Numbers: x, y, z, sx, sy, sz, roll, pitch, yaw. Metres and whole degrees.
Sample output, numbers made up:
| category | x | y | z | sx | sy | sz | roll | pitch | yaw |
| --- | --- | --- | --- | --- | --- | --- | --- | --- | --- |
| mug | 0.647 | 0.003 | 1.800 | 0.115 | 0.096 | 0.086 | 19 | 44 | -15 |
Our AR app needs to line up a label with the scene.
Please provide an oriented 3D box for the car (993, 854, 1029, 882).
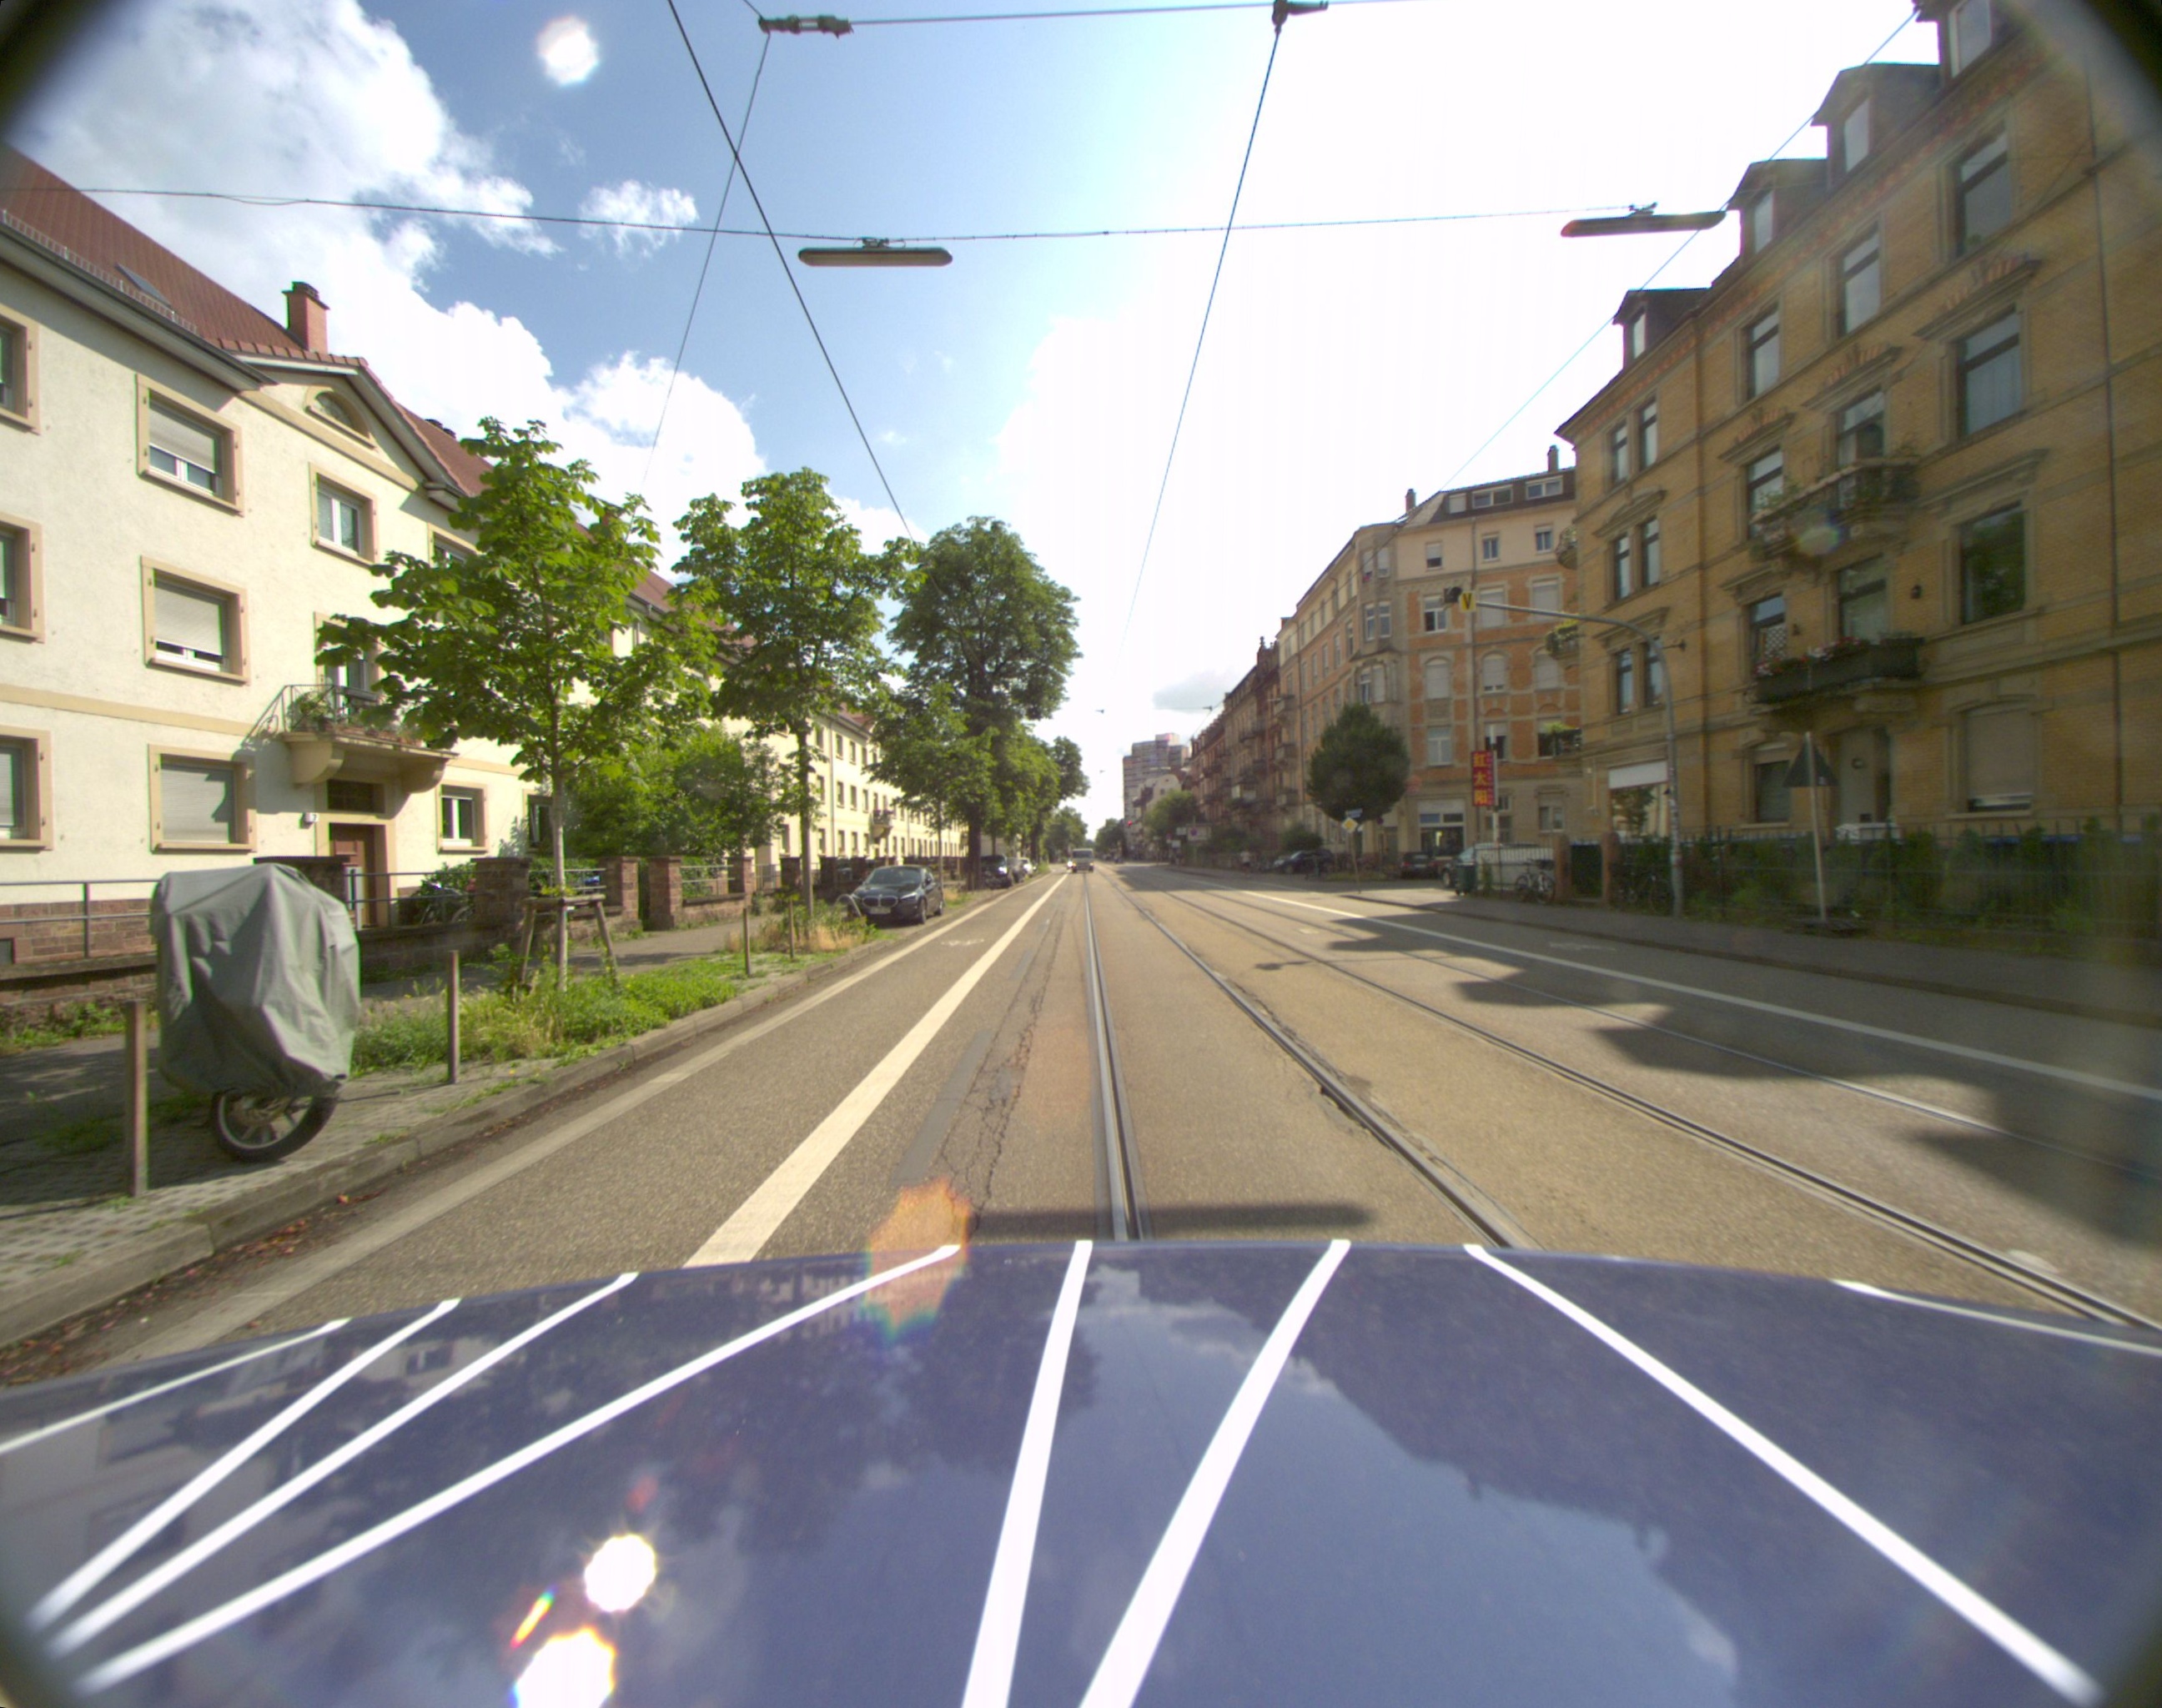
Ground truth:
| category | x | y | z | sx | sy | sz | roll | pitch | yaw |
| --- | --- | --- | --- | --- | --- | --- | --- | --- | --- |
| car | -4.478 | 0.870 | 49.377 | 1.867 | 1.643 | 4.637 | -2 | 0 | 0 |

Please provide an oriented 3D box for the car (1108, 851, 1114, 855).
| category | x | y | z | sx | sy | sz | roll | pitch | yaw |
| --- | --- | --- | --- | --- | --- | --- | --- | --- | --- |
| car | 9.715 | -0.313 | 248.117 | 1.841 | 1.482 | 3.891 | -2 | 0 | 0 |

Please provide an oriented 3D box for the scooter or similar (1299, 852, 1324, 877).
| category | x | y | z | sx | sy | sz | roll | pitch | yaw |
| --- | --- | --- | --- | --- | --- | --- | --- | --- | --- |
| scooter or similar | 12.180 | 0.538 | 40.139 | 1.367 | 1.228 | 0.403 | -3 | 1 | -28 |

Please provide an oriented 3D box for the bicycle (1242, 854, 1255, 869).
| category | x | y | z | sx | sy | sz | roll | pitch | yaw |
| --- | --- | --- | --- | --- | --- | --- | --- | --- | --- |
| bicycle | 11.156 | 0.500 | 50.699 | 0.422 | 0.971 | 1.949 | -2 | 0 | 0 |

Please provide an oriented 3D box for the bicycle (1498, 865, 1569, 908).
| category | x | y | z | sx | sy | sz | roll | pitch | yaw |
| --- | --- | --- | --- | --- | --- | --- | --- | --- | --- |
| bicycle | 10.907 | 0.764 | 18.371 | 0.531 | 0.941 | 1.967 | -2 | 0 | 0 |

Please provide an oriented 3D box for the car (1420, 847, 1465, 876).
| category | x | y | z | sx | sy | sz | roll | pitch | yaw |
| --- | --- | --- | --- | --- | --- | --- | --- | --- | --- |
| car | 18.520 | 0.355 | 39.021 | 1.641 | 1.352 | 3.932 | -1 | 0 | 19 |

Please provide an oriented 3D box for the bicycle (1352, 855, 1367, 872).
| category | x | y | z | sx | sy | sz | roll | pitch | yaw |
| --- | --- | --- | --- | --- | --- | --- | --- | --- | --- |
| bicycle | 14.759 | 0.491 | 40.312 | 0.524 | 0.833 | 1.700 | -2 | 0 | 13 |

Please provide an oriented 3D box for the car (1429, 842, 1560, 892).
| category | x | y | z | sx | sy | sz | roll | pitch | yaw |
| --- | --- | --- | --- | --- | --- | --- | --- | --- | --- |
| car | 13.405 | 0.388 | 24.999 | 1.690 | 1.451 | 4.764 | -1 | 0 | 0 |

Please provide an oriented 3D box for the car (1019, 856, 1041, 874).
| category | x | y | z | sx | sy | sz | roll | pitch | yaw |
| --- | --- | --- | --- | --- | --- | --- | --- | --- | --- |
| car | -4.585 | 0.936 | 68.952 | 1.665 | 1.512 | 4.287 | -2 | 0 | -1 |

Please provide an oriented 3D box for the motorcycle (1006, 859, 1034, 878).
| category | x | y | z | sx | sy | sz | roll | pitch | yaw |
| --- | --- | --- | --- | --- | --- | --- | --- | --- | --- |
| motorcycle | -4.533 | 1.096 | 56.178 | 2.012 | 1.329 | 0.747 | -2 | 1 | -4 |

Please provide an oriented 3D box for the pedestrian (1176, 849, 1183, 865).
| category | x | y | z | sx | sy | sz | roll | pitch | yaw |
| --- | --- | --- | --- | --- | --- | --- | --- | --- | --- |
| pedestrian | 10.641 | 0.282 | 81.930 | 0.489 | 1.693 | 1.151 | -2 | 1 | -2 |

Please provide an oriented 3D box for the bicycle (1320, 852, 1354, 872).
| category | x | y | z | sx | sy | sz | roll | pitch | yaw |
| --- | --- | --- | --- | --- | --- | --- | --- | --- | --- |
| bicycle | 14.406 | 0.442 | 42.757 | 1.759 | 1.057 | 0.524 | -2 | 0 | -5 |

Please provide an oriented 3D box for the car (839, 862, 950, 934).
| category | x | y | z | sx | sy | sz | roll | pitch | yaw |
| --- | --- | --- | --- | --- | --- | --- | --- | --- | --- |
| car | -4.645 | 1.036 | 19.564 | 1.710 | 1.470 | 4.196 | -4 | 1 | 0 |

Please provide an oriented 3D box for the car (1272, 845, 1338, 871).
| category | x | y | z | sx | sy | sz | roll | pitch | yaw |
| --- | --- | --- | --- | --- | --- | --- | --- | --- | --- |
| car | 13.766 | 0.235 | 46.875 | 3.611 | 1.395 | 1.787 | -2 | 0 | 4 |

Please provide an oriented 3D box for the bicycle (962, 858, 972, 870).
| category | x | y | z | sx | sy | sz | roll | pitch | yaw |
| --- | --- | --- | --- | --- | --- | --- | --- | --- | --- |
| bicycle | -10.933 | 0.934 | 72.936 | 0.626 | 1.128 | 1.801 | -2 | 0 | 0 |

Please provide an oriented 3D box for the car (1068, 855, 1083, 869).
| category | x | y | z | sx | sy | sz | roll | pitch | yaw |
| --- | --- | --- | --- | --- | --- | --- | --- | --- | --- |
| car | -0.665 | 0.975 | 91.794 | 1.751 | 1.471 | 3.653 | -4 | 1 | 0 |

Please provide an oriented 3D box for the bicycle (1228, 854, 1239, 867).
| category | x | y | z | sx | sy | sz | roll | pitch | yaw |
| --- | --- | --- | --- | --- | --- | --- | --- | --- | --- |
| bicycle | 11.326 | 0.496 | 56.432 | 0.422 | 0.927 | 1.949 | -2 | 0 | 0 |

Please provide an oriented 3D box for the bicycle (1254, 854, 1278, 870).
| category | x | y | z | sx | sy | sz | roll | pitch | yaw |
| --- | --- | --- | --- | --- | --- | --- | --- | --- | --- |
| bicycle | 11.805 | 0.518 | 48.528 | 1.456 | 0.971 | 0.404 | -1 | 0 | 0 |

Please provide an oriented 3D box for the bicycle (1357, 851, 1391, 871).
| category | x | y | z | sx | sy | sz | roll | pitch | yaw |
| --- | --- | --- | --- | --- | --- | --- | --- | --- | --- |
| bicycle | 16.270 | 0.406 | 42.194 | 1.695 | 1.057 | 0.525 | -2 | 0 | 11 |

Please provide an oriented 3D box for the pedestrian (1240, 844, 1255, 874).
| category | x | y | z | sx | sy | sz | roll | pitch | yaw |
| --- | --- | --- | --- | --- | --- | --- | --- | --- | --- |
| pedestrian | 10.019 | 0.305 | 45.739 | 0.534 | 1.750 | 1.105 | -4 | 1 | 0 |

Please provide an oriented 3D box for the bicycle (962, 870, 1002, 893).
| category | x | y | z | sx | sy | sz | roll | pitch | yaw |
| --- | --- | --- | --- | --- | --- | --- | --- | --- | --- |
| bicycle | -4.494 | 1.264 | 34.653 | 1.712 | 1.001 | 0.638 | -1 | 1 | 1 |

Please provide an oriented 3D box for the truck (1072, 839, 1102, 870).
| category | x | y | z | sx | sy | sz | roll | pitch | yaw |
| --- | --- | --- | --- | --- | --- | --- | --- | --- | --- |
| truck | 0.516 | 0.013 | 72.094 | 2.532 | 2.722 | 6.514 | -2 | 0 | -1 |

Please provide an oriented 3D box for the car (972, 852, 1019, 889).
| category | x | y | z | sx | sy | sz | roll | pitch | yaw |
| --- | --- | --- | --- | --- | --- | --- | --- | --- | --- |
| car | -4.366 | 0.803 | 39.404 | 1.832 | 1.772 | 4.733 | -1 | 0 | 0 |

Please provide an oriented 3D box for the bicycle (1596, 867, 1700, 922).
| category | x | y | z | sx | sy | sz | roll | pitch | yaw |
| --- | --- | --- | --- | --- | --- | --- | --- | --- | --- |
| bicycle | 10.940 | 0.749 | 14.749 | 0.531 | 0.941 | 1.967 | -2 | 0 | 0 |

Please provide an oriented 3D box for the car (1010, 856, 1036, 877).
| category | x | y | z | sx | sy | sz | roll | pitch | yaw |
| --- | --- | --- | --- | --- | --- | --- | --- | --- | --- |
| car | -4.546 | 0.962 | 60.456 | 1.746 | 1.571 | 4.248 | -2 | 0 | -1 |

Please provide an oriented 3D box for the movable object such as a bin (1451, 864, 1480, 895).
| category | x | y | z | sx | sy | sz | roll | pitch | yaw |
| --- | --- | --- | --- | --- | --- | --- | --- | --- | --- |
| movable object such as a bin | 11.492 | 0.748 | 22.706 | 0.526 | 0.900 | 0.636 | -1 | 1 | -1 |

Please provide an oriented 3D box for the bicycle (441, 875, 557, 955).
| category | x | y | z | sx | sy | sz | roll | pitch | yaw |
| --- | --- | --- | --- | --- | --- | --- | --- | --- | --- |
| bicycle | -9.827 | 0.988 | 12.908 | 0.601 | 1.204 | 1.704 | -2 | 0 | 1 |

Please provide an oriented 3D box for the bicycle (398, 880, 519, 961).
| category | x | y | z | sx | sy | sz | roll | pitch | yaw |
| --- | --- | --- | --- | --- | --- | --- | --- | --- | --- |
| bicycle | -10.533 | 1.094 | 12.935 | 0.601 | 1.204 | 1.704 | -2 | 0 | 1 |

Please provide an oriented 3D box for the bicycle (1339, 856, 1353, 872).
| category | x | y | z | sx | sy | sz | roll | pitch | yaw |
| --- | --- | --- | --- | --- | --- | --- | --- | --- | --- |
| bicycle | 14.224 | 0.544 | 40.816 | 0.524 | 0.833 | 1.700 | -2 | 0 | 13 |

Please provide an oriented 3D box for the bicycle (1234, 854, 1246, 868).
| category | x | y | z | sx | sy | sz | roll | pitch | yaw |
| --- | --- | --- | --- | --- | --- | --- | --- | --- | --- |
| bicycle | 11.167 | 0.504 | 53.377 | 0.422 | 0.971 | 1.949 | -2 | 0 | 0 |

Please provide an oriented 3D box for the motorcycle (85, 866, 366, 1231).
| category | x | y | z | sx | sy | sz | roll | pitch | yaw |
| --- | --- | --- | --- | --- | --- | --- | --- | --- | --- |
| motorcycle | -4.825 | 0.879 | 4.475 | 0.680 | 1.588 | 2.381 | -2 | 1 | -39 |

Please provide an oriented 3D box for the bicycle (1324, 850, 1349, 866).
| category | x | y | z | sx | sy | sz | roll | pitch | yaw |
| --- | --- | --- | --- | --- | --- | --- | --- | --- | --- |
| bicycle | 16.413 | 0.278 | 48.895 | 1.456 | 0.971 | 0.404 | -1 | 0 | 0 |
